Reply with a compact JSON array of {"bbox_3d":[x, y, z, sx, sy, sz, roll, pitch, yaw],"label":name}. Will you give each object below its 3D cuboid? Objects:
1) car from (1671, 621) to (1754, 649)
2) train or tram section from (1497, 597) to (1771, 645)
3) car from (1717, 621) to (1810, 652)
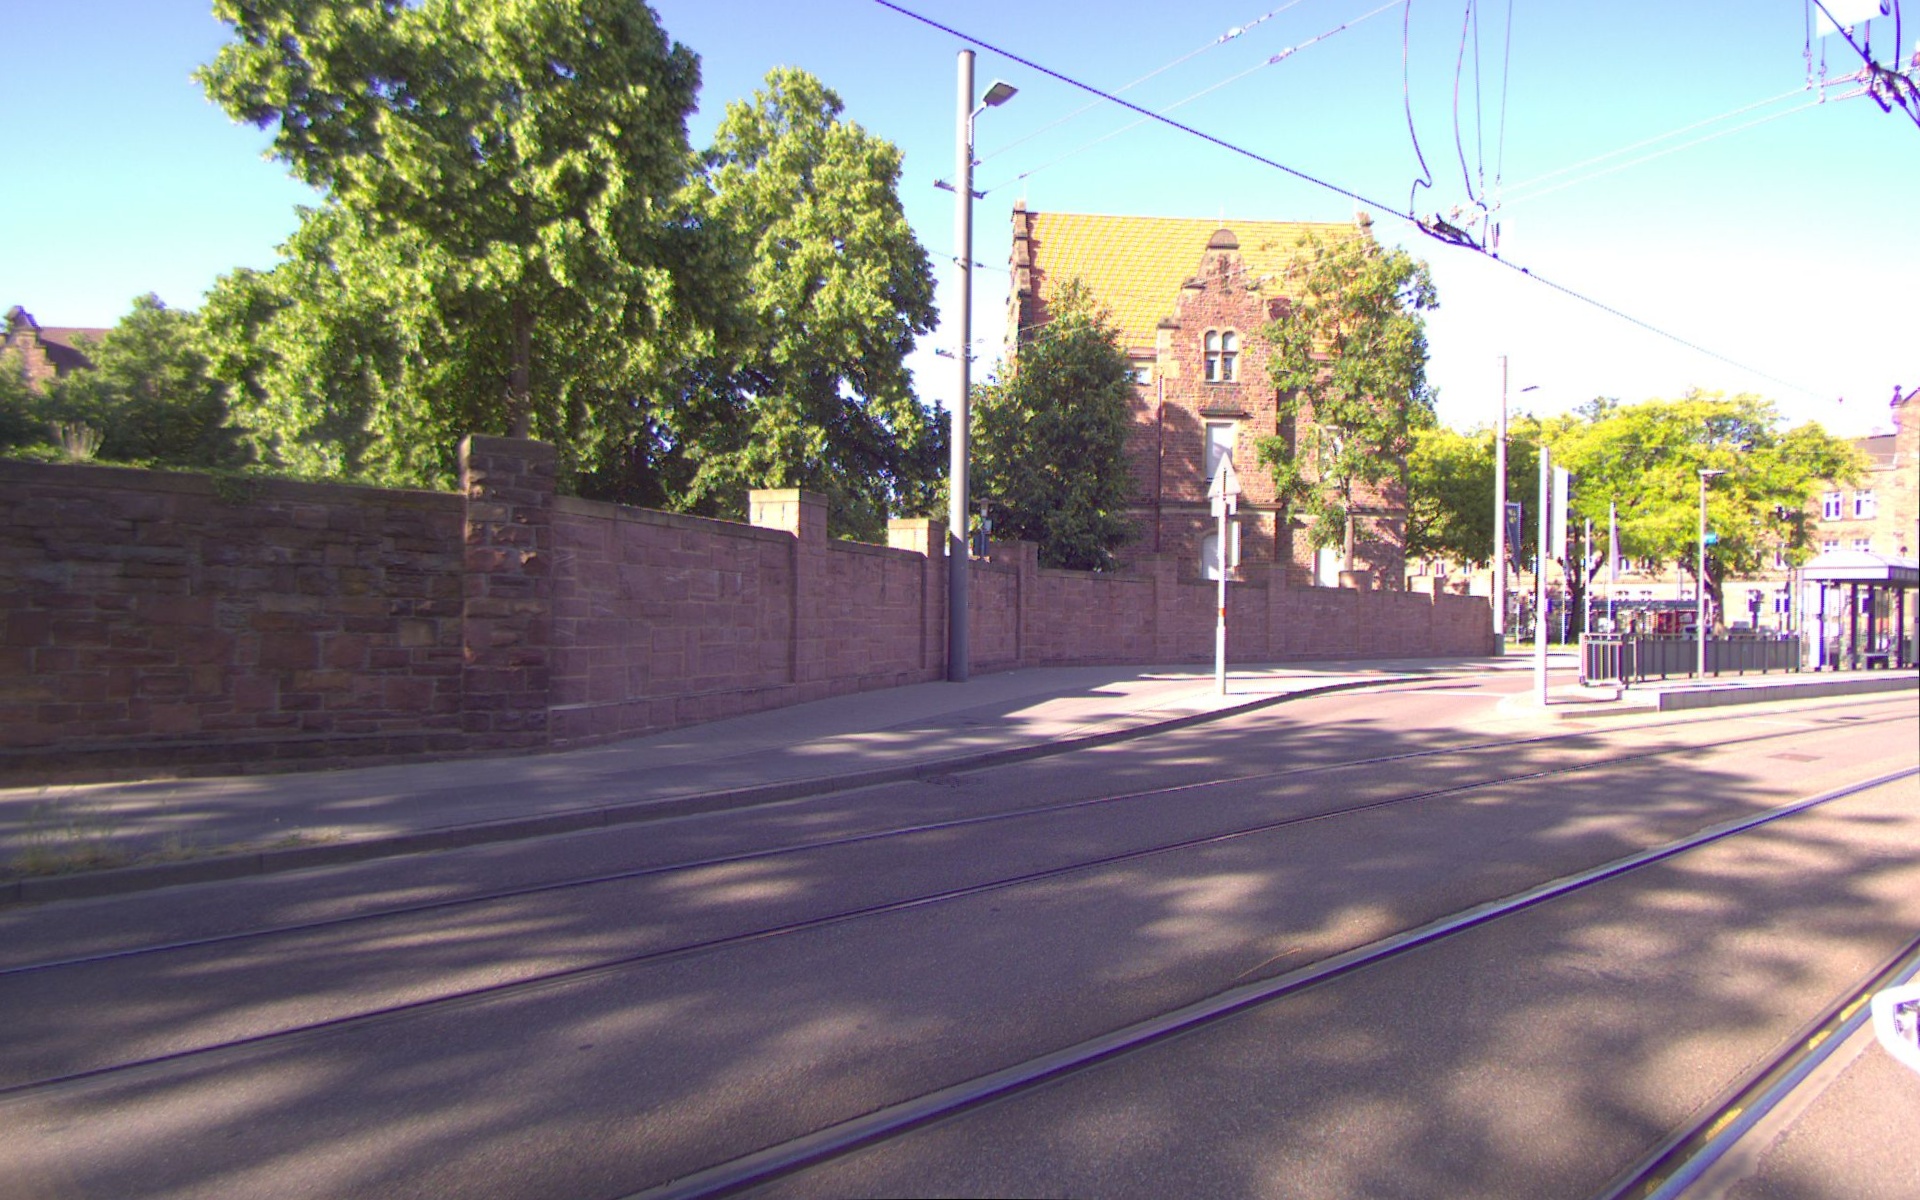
[{"bbox_3d":[49.183,2.259,65.678,1.798,1.651,3.964,2,0,-32],"label":"car"},{"bbox_3d":[50.033,1.478,75.883,3.312,3.196,17.280,2,-1,-33],"label":"train or tram section"},{"bbox_3d":[47.757,2.175,59.794,1.798,1.651,3.964,2,0,-32],"label":"car"}]
